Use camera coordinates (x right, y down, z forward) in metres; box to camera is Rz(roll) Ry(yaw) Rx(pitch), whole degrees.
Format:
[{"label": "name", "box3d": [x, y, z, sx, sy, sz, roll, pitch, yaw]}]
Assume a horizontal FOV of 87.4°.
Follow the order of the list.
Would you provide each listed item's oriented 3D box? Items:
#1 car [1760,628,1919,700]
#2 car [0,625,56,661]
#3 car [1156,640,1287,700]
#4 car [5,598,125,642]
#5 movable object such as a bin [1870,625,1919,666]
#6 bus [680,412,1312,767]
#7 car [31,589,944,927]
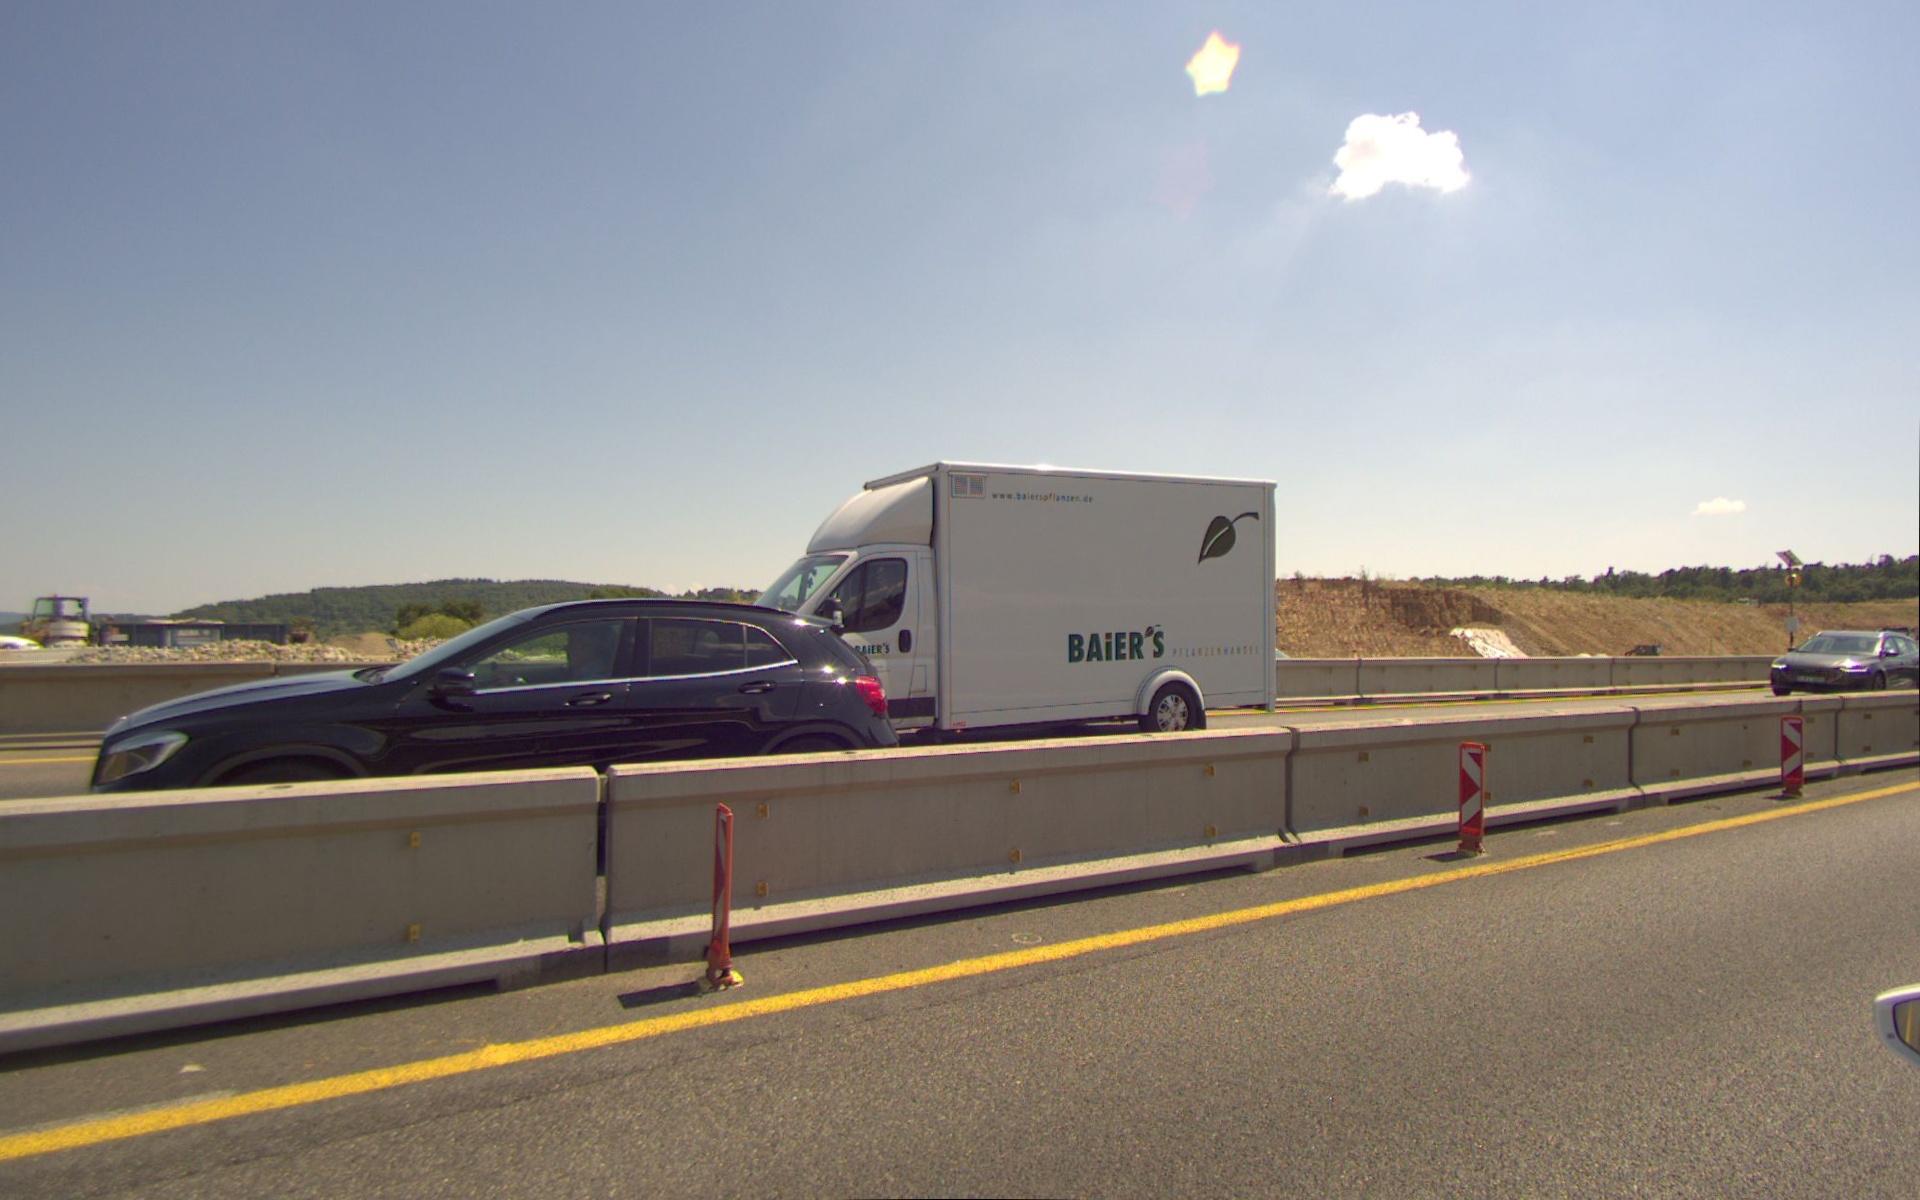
[{"label": "car", "box3d": [19.818, 1.363, 22.416, 4.599, 1.442, 1.810, 2, -1, -34]}, {"label": "car", "box3d": [-38.924, 1.691, 39.812, 4.402, 1.428, 1.601, 2, -1, -35]}, {"label": "car", "box3d": [7.119, 1.859, 27.393, 3.147, 1.474, 1.544, 0, -1, 33]}, {"label": "car", "box3d": [-40.484, 0.937, 45.491, 3.974, 1.906, 1.747, 2, -2, -45]}, {"label": "movable object such as a bin", "box3d": [61.049, 2.910, 64.938, 6.672, 2.493, 1.692, 1, -1, -33]}, {"label": "bus", "box3d": [0.629, -0.003, 11.670, 7.137, 3.167, 2.340, 1, -1, -28]}, {"label": "car", "box3d": [-2.433, 0.722, 6.100, 4.344, 1.433, 1.801, 1, -1, -28]}]
